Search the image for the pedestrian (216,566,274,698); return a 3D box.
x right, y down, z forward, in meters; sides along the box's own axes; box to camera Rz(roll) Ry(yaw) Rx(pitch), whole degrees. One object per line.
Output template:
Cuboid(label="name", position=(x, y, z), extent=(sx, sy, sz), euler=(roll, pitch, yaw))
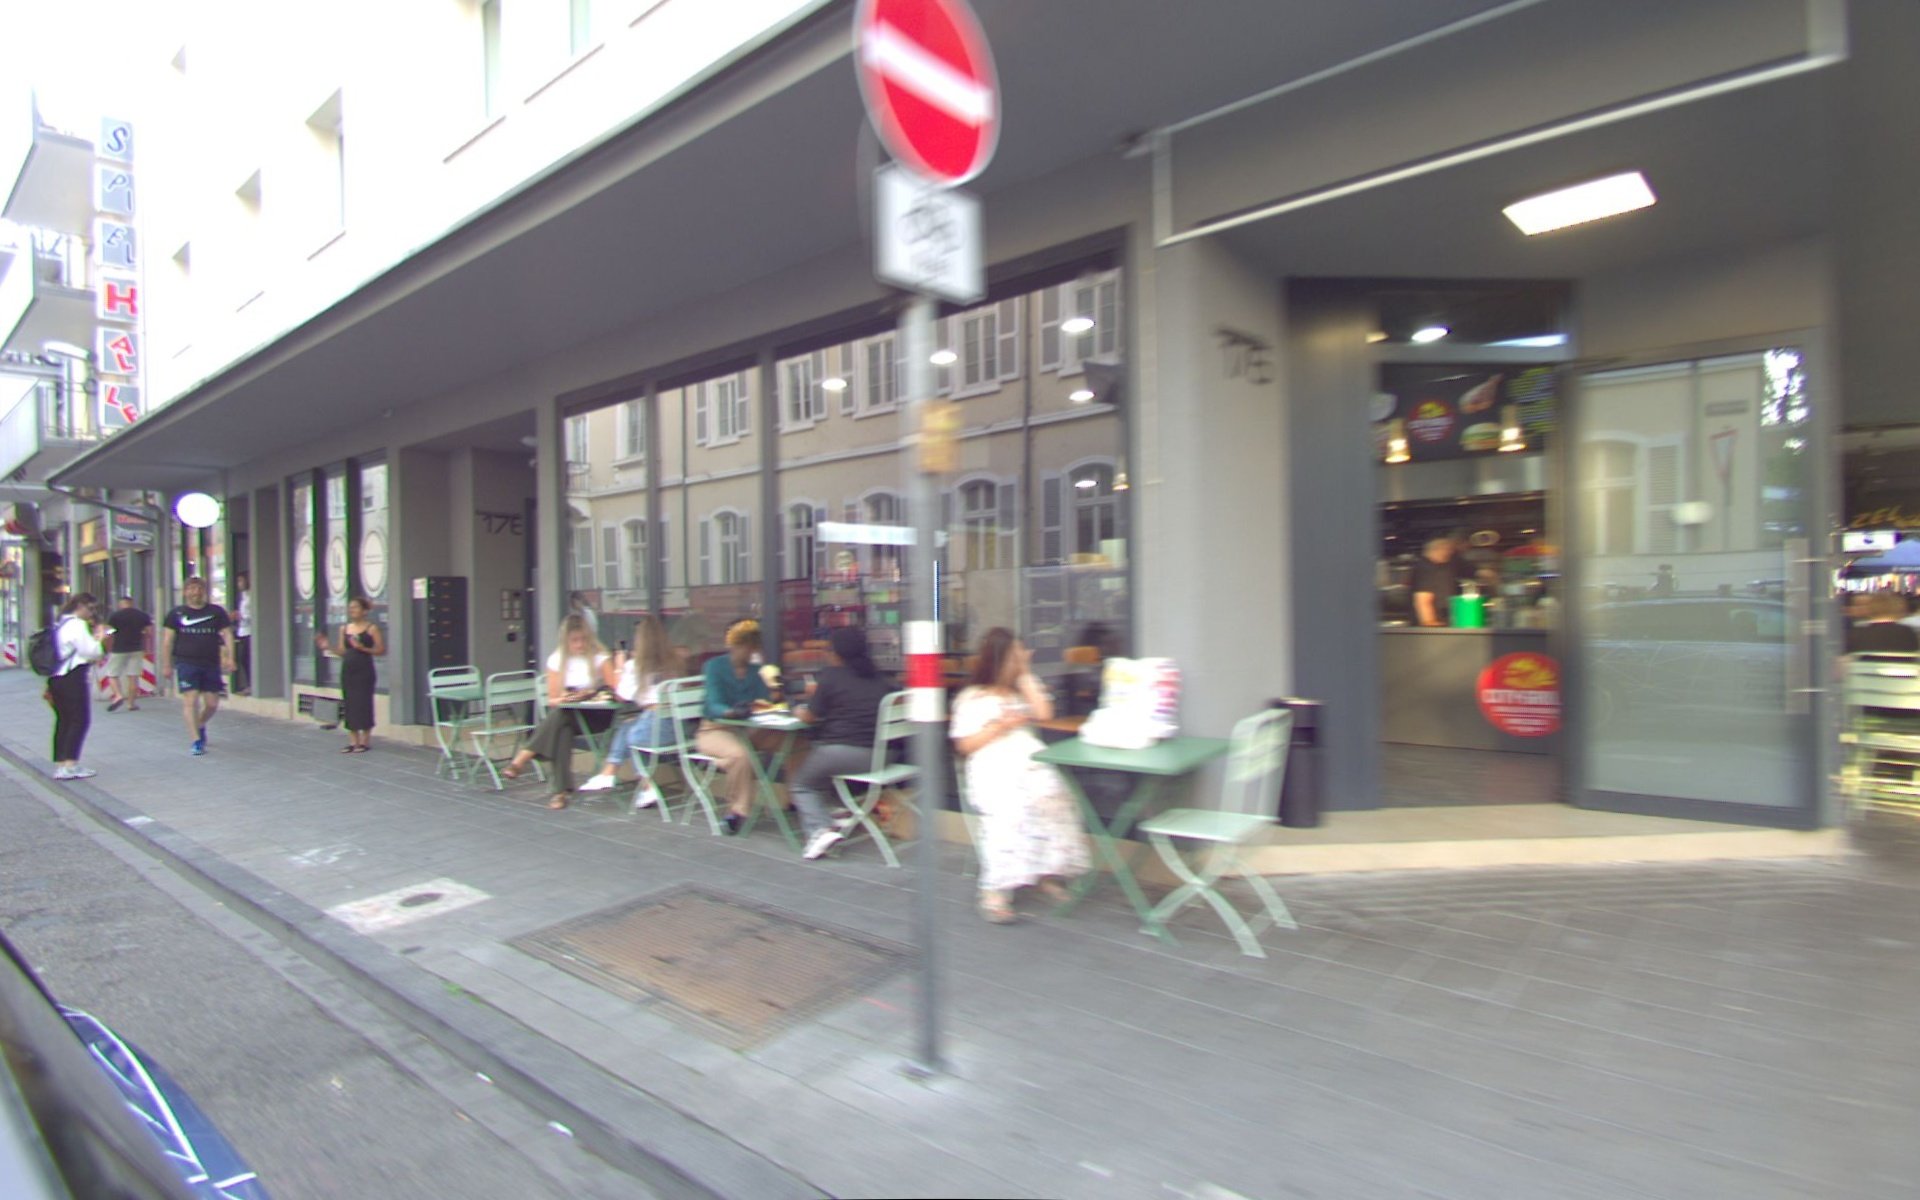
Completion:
Cuboid(label="pedestrian", position=(-10.244, 0.453, 14.500), extent=(0.613, 1.824, 0.538), euler=(-2, -2, 41))

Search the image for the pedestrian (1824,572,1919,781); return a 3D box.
Cuboid(label="pedestrian", position=(6.299, 0.493, 6.861), extent=(0.624, 1.330, 0.829), euler=(0, -1, 44))

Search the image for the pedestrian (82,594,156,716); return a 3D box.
Cuboid(label="pedestrian", position=(-12.852, 0.817, 15.464), extent=(0.932, 1.795, 0.697), euler=(-1, 0, 41))

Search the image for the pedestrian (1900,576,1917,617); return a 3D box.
Cuboid(label="pedestrian", position=(39.549, -0.138, 42.203), extent=(0.511, 1.673, 0.603), euler=(1, 0, 43))

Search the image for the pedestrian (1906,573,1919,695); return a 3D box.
Cuboid(label="pedestrian", position=(11.415, 0.394, 11.709), extent=(0.656, 1.389, 0.755), euler=(0, -1, 41))

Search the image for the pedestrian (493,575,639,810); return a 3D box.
Cuboid(label="pedestrian", position=(-2.852, 0.618, 7.305), extent=(0.695, 1.559, 0.862), euler=(-1, 0, -42))

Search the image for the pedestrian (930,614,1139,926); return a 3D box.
Cuboid(label="pedestrian", position=(0.300, 0.691, 4.557), extent=(0.694, 1.228, 0.844), euler=(-1, 0, -12))

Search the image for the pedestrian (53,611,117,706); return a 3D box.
Cuboid(label="pedestrian", position=(-15.271, 1.004, 17.664), extent=(0.612, 1.590, 0.702), euler=(-1, 1, 38))

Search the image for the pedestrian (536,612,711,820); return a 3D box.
Cuboid(label="pedestrian", position=(-2.255, 0.742, 6.832), extent=(0.853, 1.296, 0.702), euler=(-1, 0, 17))

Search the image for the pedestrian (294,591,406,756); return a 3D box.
Cuboid(label="pedestrian", position=(-6.073, 0.714, 10.098), extent=(0.632, 1.581, 0.655), euler=(-2, 0, 15))

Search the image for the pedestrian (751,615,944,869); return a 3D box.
Cuboid(label="pedestrian", position=(-0.603, 0.708, 5.463), extent=(0.691, 1.204, 0.696), euler=(-1, 2, 44))

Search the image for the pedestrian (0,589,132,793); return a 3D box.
Cuboid(label="pedestrian", position=(-8.206, 0.801, 9.248), extent=(0.757, 1.753, 0.775), euler=(-1, -3, 36))

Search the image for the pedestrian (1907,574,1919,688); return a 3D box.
Cuboid(label="pedestrian", position=(12.114, 0.384, 12.432), extent=(0.656, 1.389, 0.755), euler=(0, -1, 41))

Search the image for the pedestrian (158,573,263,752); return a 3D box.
Cuboid(label="pedestrian", position=(-8.090, 0.641, 10.918), extent=(0.932, 1.824, 0.707), euler=(-2, -1, 41))

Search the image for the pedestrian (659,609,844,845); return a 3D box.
Cuboid(label="pedestrian", position=(-1.251, 0.708, 6.070), extent=(0.778, 1.249, 0.696), euler=(-1, 3, 44))

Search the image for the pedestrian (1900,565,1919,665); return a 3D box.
Cuboid(label="pedestrian", position=(13.671, 0.210, 14.206), extent=(0.656, 1.389, 0.755), euler=(0, -1, 41))
